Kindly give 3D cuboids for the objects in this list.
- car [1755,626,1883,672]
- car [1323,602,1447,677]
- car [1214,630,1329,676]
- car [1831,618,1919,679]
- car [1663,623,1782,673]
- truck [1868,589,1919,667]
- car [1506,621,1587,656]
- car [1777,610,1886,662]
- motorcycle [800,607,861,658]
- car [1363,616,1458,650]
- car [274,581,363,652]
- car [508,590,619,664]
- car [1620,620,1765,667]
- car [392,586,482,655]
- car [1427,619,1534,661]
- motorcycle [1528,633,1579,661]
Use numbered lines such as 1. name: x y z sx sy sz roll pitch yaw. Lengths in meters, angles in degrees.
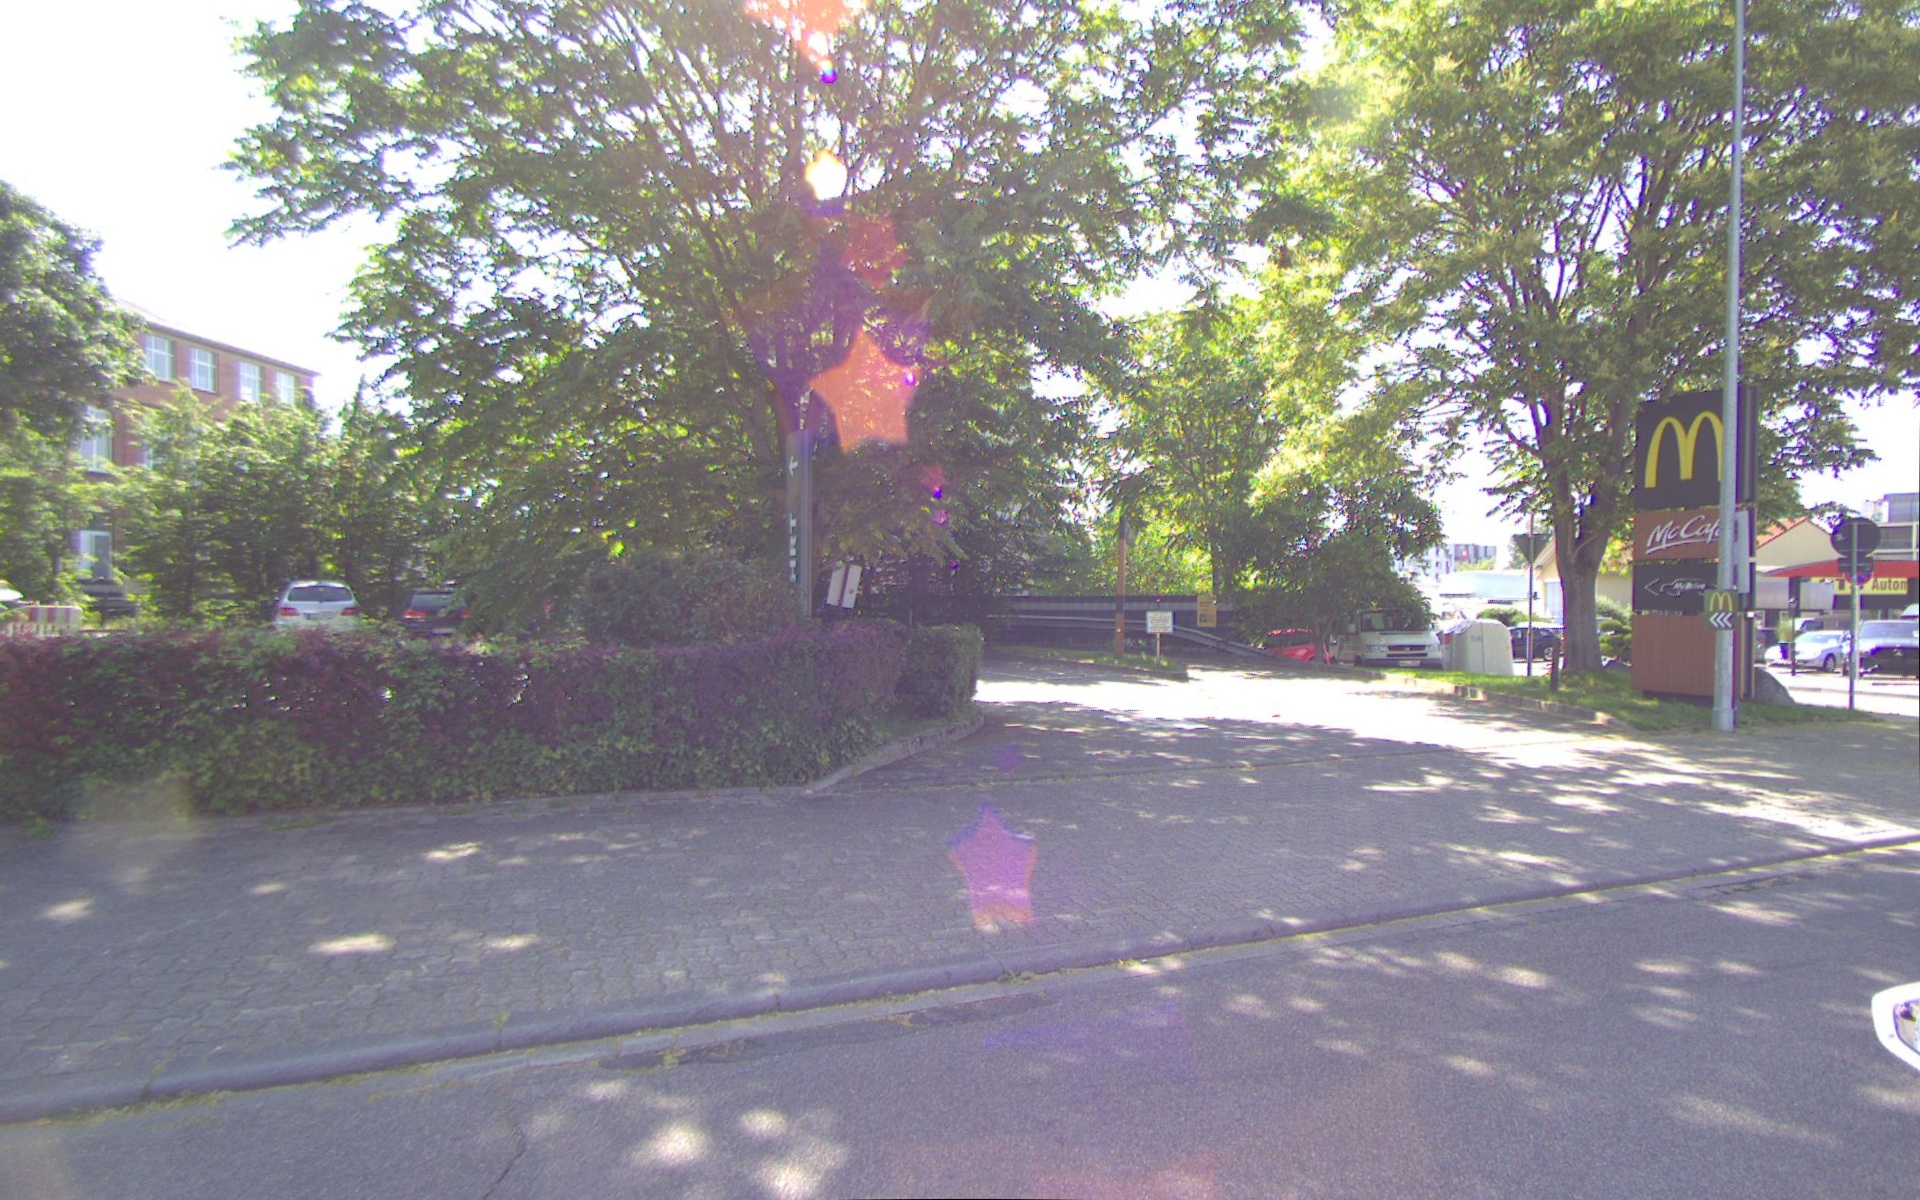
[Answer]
1. car: 30.876 1.756 36.112 3.940 1.507 1.785 2 0 -21
2. car: 10.637 0.908 25.538 1.918 1.604 5.034 2 1 12
3. car: 10.207 1.722 33.099 3.347 1.397 1.486 0 2 2
4. car: 26.968 1.381 29.357 2.021 1.616 4.405 2 0 38
5. car: 25.595 1.604 33.700 3.953 1.530 1.780 2 0 -30
6. truck: 38.821 1.139 39.719 5.864 2.943 2.261 1 1 -26
7. car: 30.341 1.961 52.076 1.960 1.606 4.001 2 0 3
8. car: 36.778 1.507 42.376 4.440 2.040 1.985 2 0 -28
9. motorcycle: -3.159 0.774 24.357 1.582 1.185 0.567 1 1 41
10. car: 25.689 1.878 57.359 4.567 1.748 1.998 2 0 -6
11. car: -16.044 0.355 25.170 1.755 1.593 3.964 0 1 -32
12. car: -9.334 0.558 23.459 1.686 1.473 3.963 0 2 -33
13. car: 28.818 1.687 39.701 4.252 1.606 1.999 2 0 24
14. car: -13.087 0.442 25.030 1.754 1.490 3.966 0 2 -31
15. car: 24.226 1.854 46.873 3.921 1.728 2.000 2 0 0
16. motorcycle: 27.227 2.165 46.078 1.837 1.174 0.790 2 0 13
